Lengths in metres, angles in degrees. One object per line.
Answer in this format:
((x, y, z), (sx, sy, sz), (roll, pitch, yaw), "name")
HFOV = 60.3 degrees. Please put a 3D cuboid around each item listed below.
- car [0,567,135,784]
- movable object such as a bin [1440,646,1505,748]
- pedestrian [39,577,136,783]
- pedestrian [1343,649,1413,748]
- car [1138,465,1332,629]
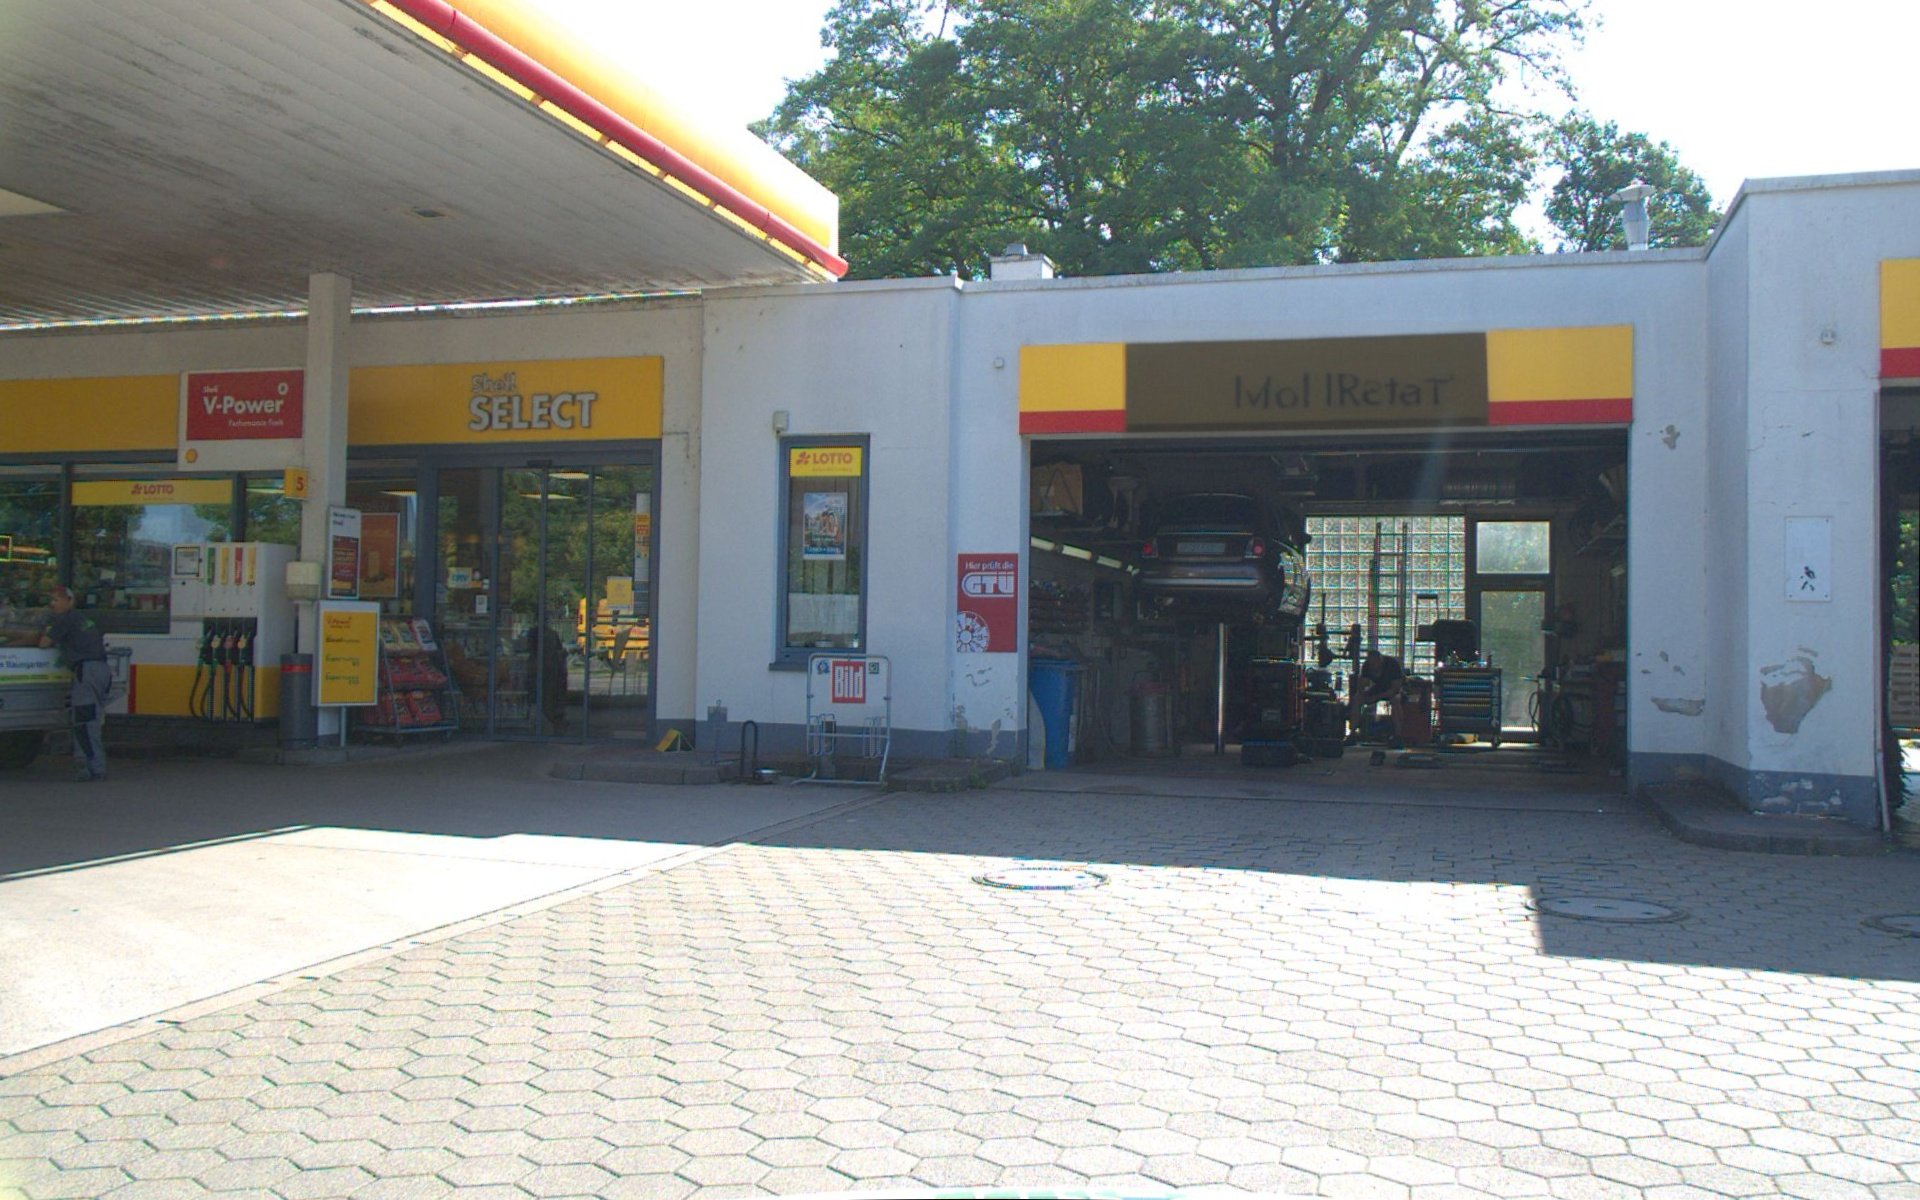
((-9.474, 0.638, 14.484), (3.904, 1.758, 1.833), (0, -2, 20), "car")
((6.503, 1.229, 20.978), (0.780, 1.258, 0.544), (0, -4, 18), "movable object such as a bin")
((-7.352, 0.666, 13.941), (0.488, 1.698, 0.476), (0, -2, 18), "pedestrian")
((5.308, 1.245, 20.992), (0.845, 1.219, 0.743), (0, -4, 16), "pedestrian")
((3.278, -0.511, 19.127), (1.612, 1.512, 4.001), (0, -4, 18), "car")
